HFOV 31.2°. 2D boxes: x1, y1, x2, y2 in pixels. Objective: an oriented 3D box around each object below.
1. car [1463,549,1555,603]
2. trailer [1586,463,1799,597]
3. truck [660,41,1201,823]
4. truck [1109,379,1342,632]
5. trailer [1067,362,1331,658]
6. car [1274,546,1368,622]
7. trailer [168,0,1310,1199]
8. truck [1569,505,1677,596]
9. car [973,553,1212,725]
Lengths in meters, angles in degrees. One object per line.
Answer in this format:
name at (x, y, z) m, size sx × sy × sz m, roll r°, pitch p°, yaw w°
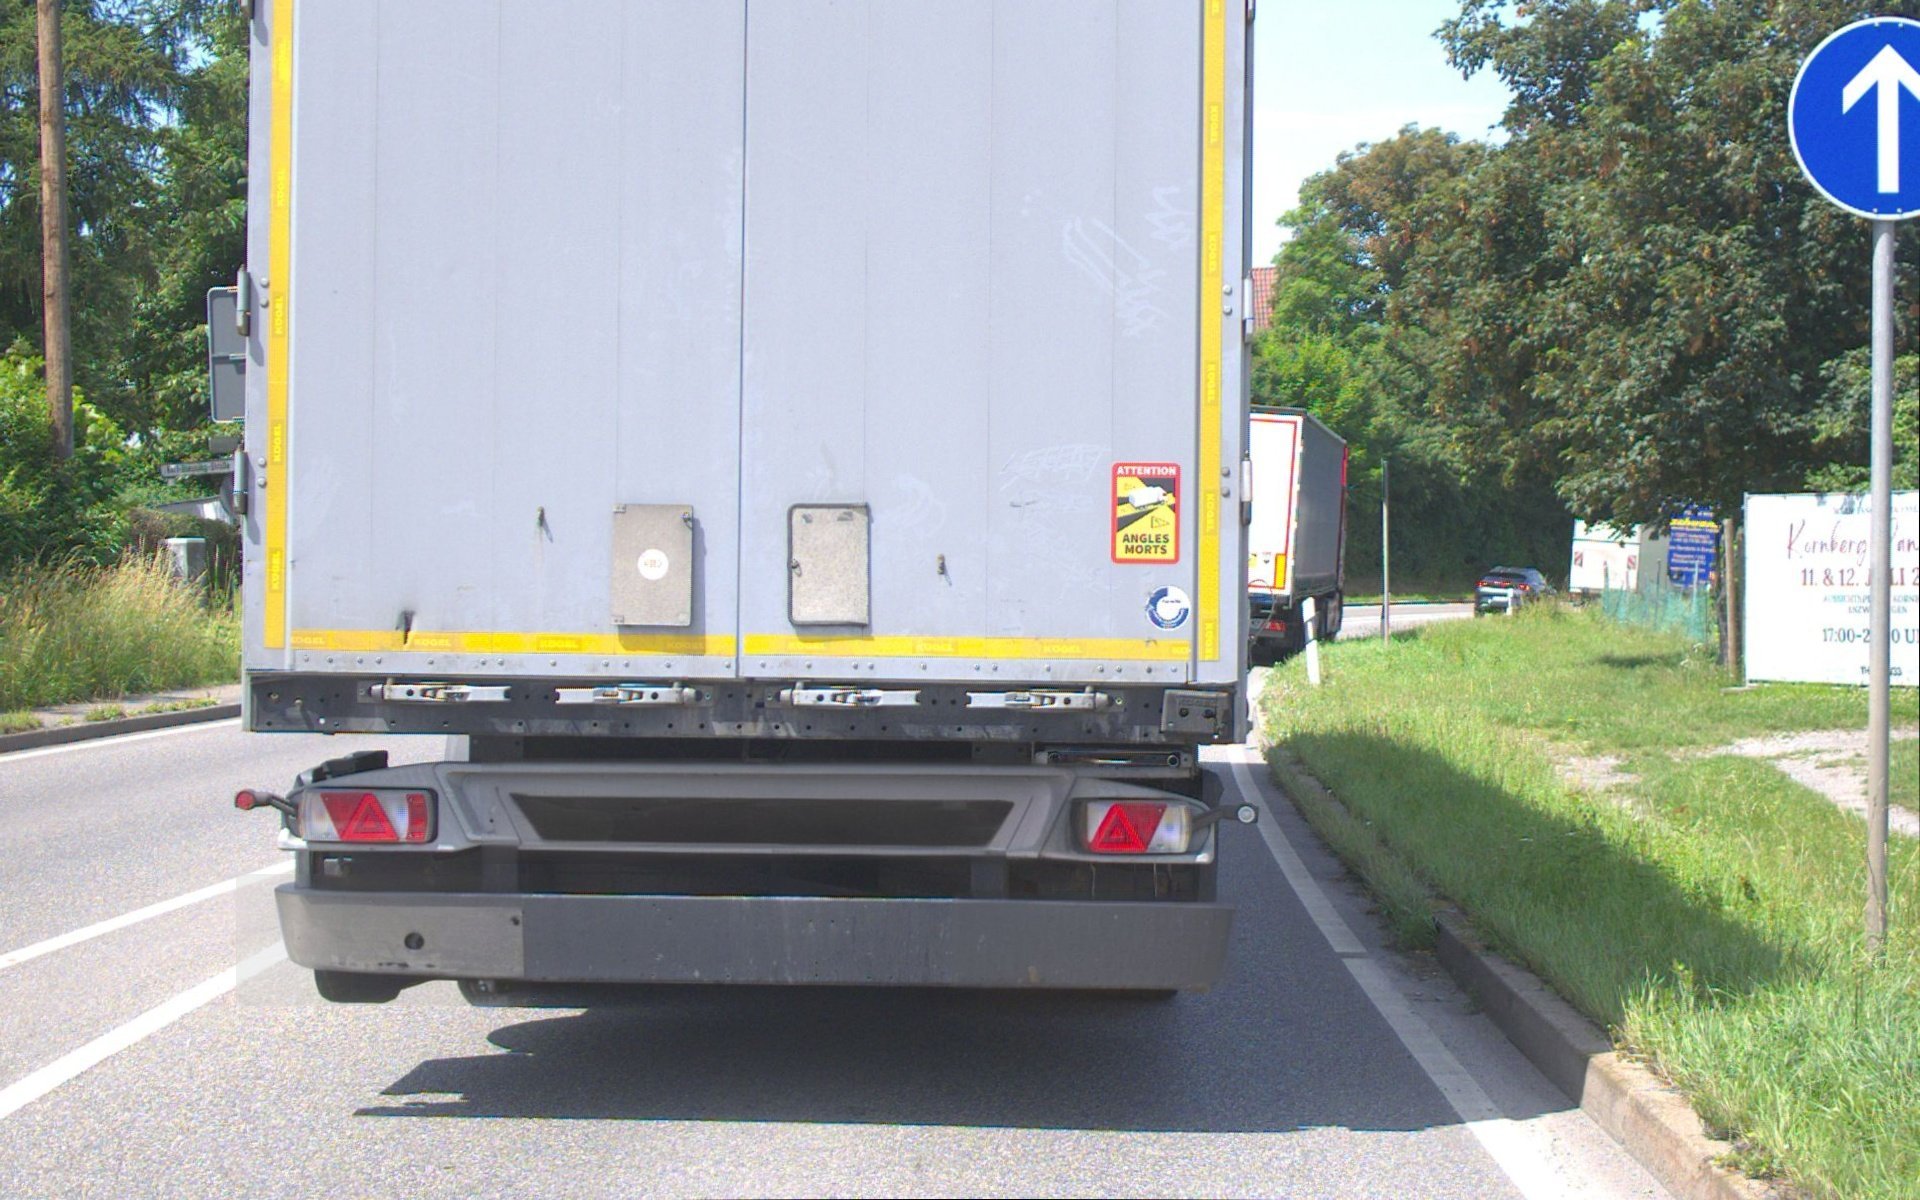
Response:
car at (15.874, -0.699, 99.276) m, size 1.843 × 1.481 × 3.996 m, roll 1°, pitch 1°, yaw 20°
trailer at (27.092, -2.608, 126.206) m, size 5.185 × 4.612 × 15.879 m, roll 1°, pitch 2°, yaw 21°
truck at (0.043, -0.979, 21.440) m, size 2.746 × 4.151 × 6.142 m, roll 1°, pitch 1°, yaw 5°
truck at (5.193, -1.773, 65.827) m, size 3.938 × 4.559 × 7.149 m, roll 0°, pitch 1°, yaw 9°
trailer at (4.337, -1.542, 58.973) m, size 3.892 × 4.505 × 12.711 m, roll 0°, pitch 1°, yaw 7°
car at (9.291, -0.438, 88.205) m, size 1.994 × 1.831 × 3.998 m, roll 1°, pitch 2°, yaw 12°
trailer at (-0.311, -0.781, 14.448) m, size 2.787 × 4.191 × 12.111 m, roll 1°, pitch 1°, yaw 2°
truck at (21.314, -1.621, 110.411) m, size 2.423 × 2.828 × 5.406 m, roll 1°, pitch 1°, yaw 22°
car at (1.352, 0.326, 33.379) m, size 1.994 × 1.525 × 3.999 m, roll 1°, pitch 1°, yaw 7°
